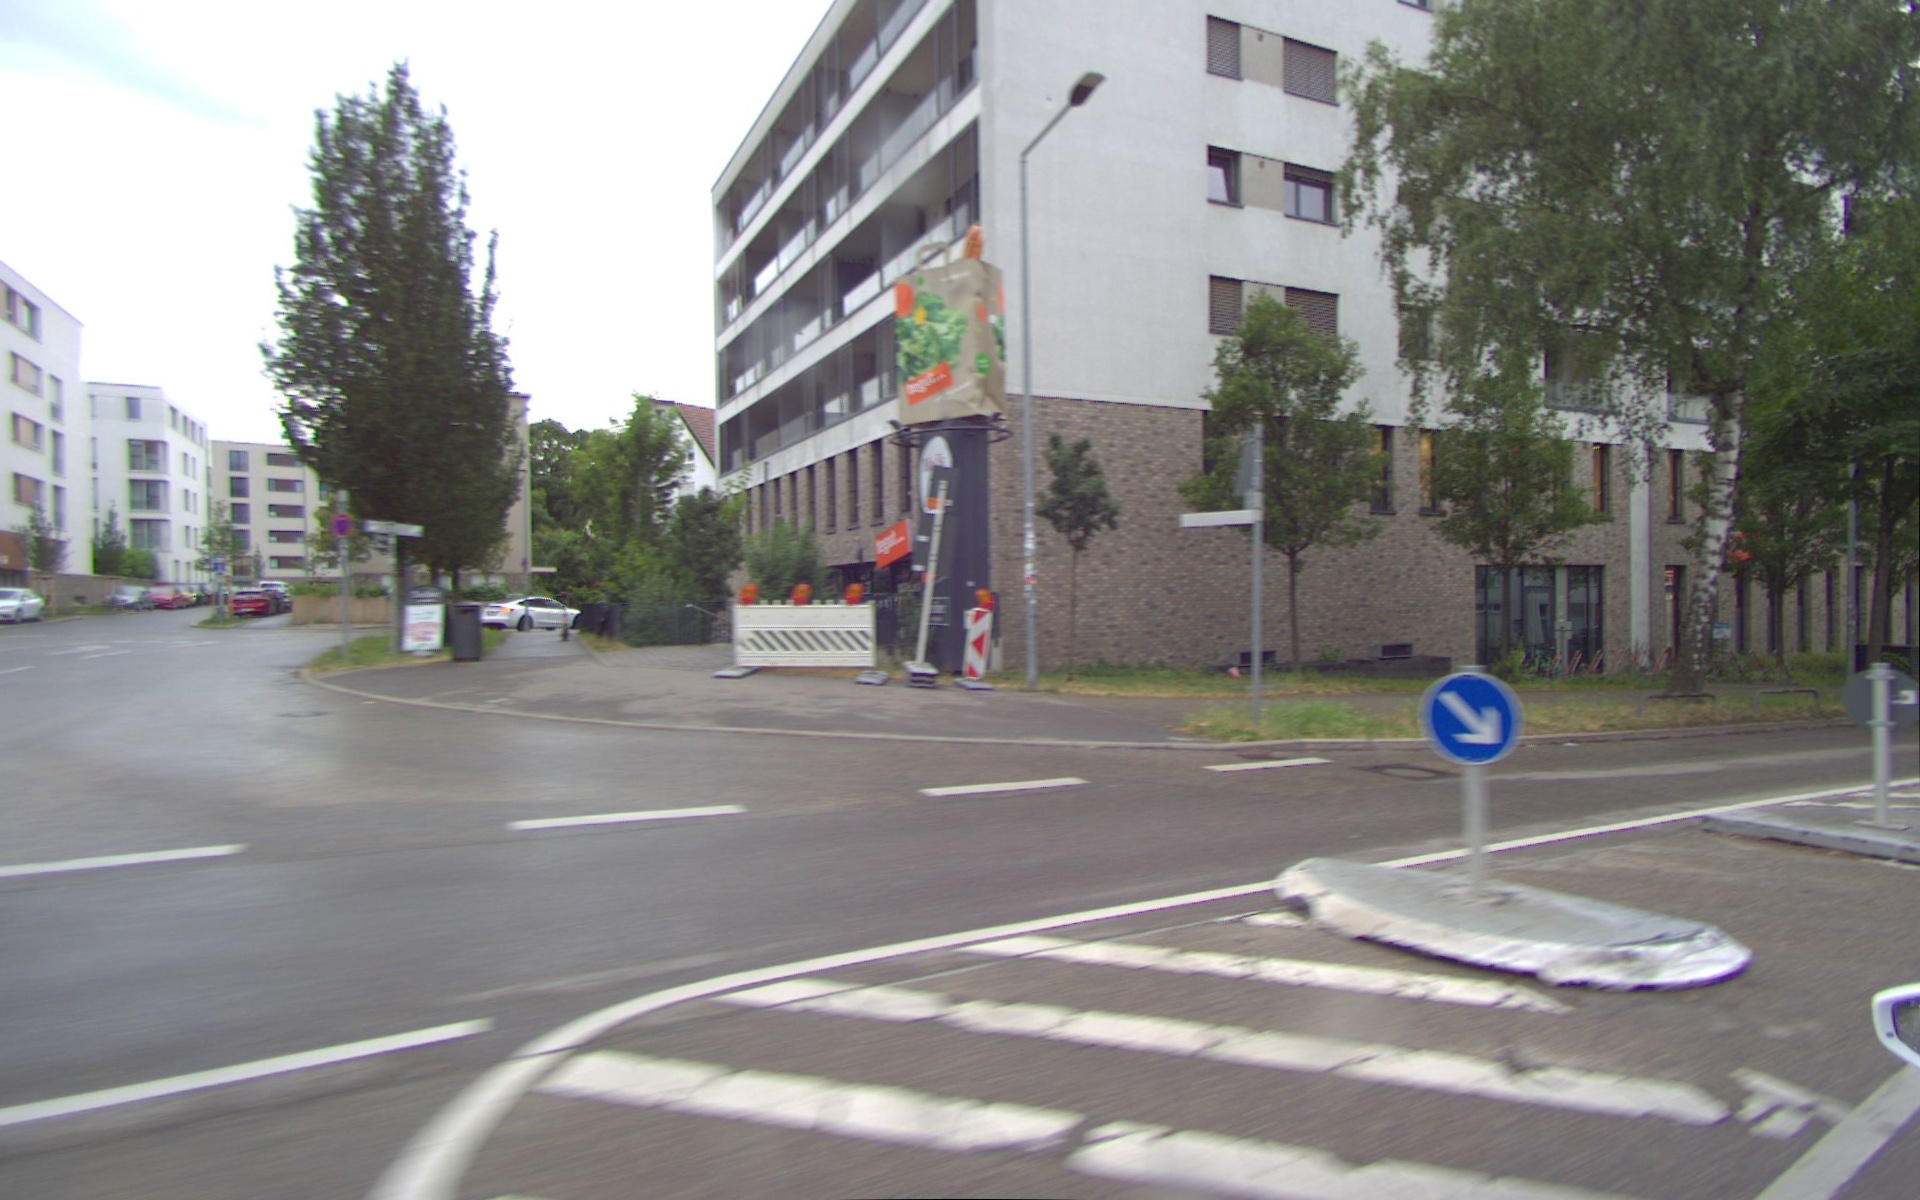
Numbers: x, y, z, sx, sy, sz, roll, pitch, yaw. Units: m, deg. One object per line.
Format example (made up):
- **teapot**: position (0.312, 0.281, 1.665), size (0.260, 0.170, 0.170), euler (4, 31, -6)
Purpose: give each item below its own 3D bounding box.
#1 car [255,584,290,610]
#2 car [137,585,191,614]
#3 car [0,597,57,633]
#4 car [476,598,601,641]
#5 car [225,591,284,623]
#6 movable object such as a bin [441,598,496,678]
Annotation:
- **car**: position (-49.361, -0.242, 72.106), size (1.981, 1.773, 3.959), euler (-1, 1, -36)
- **car**: position (-50.684, -0.076, 64.017), size (1.975, 1.773, 3.971), euler (-1, 1, -28)
- **car**: position (-39.825, 0.598, 42.004), size (1.974, 1.320, 4.121), euler (-1, 2, -26)
- **car**: position (-17.512, 0.757, 42.031), size (2.024, 1.683, 4.819), euler (0, 1, 22)
- **car**: position (-36.320, 0.316, 51.786), size (1.975, 1.503, 3.970), euler (-1, 2, -28)
- **movable object such as a bin**: position (-8.817, 0.664, 18.027), size (0.813, 1.381, 0.712), euler (-1, 1, -32)
